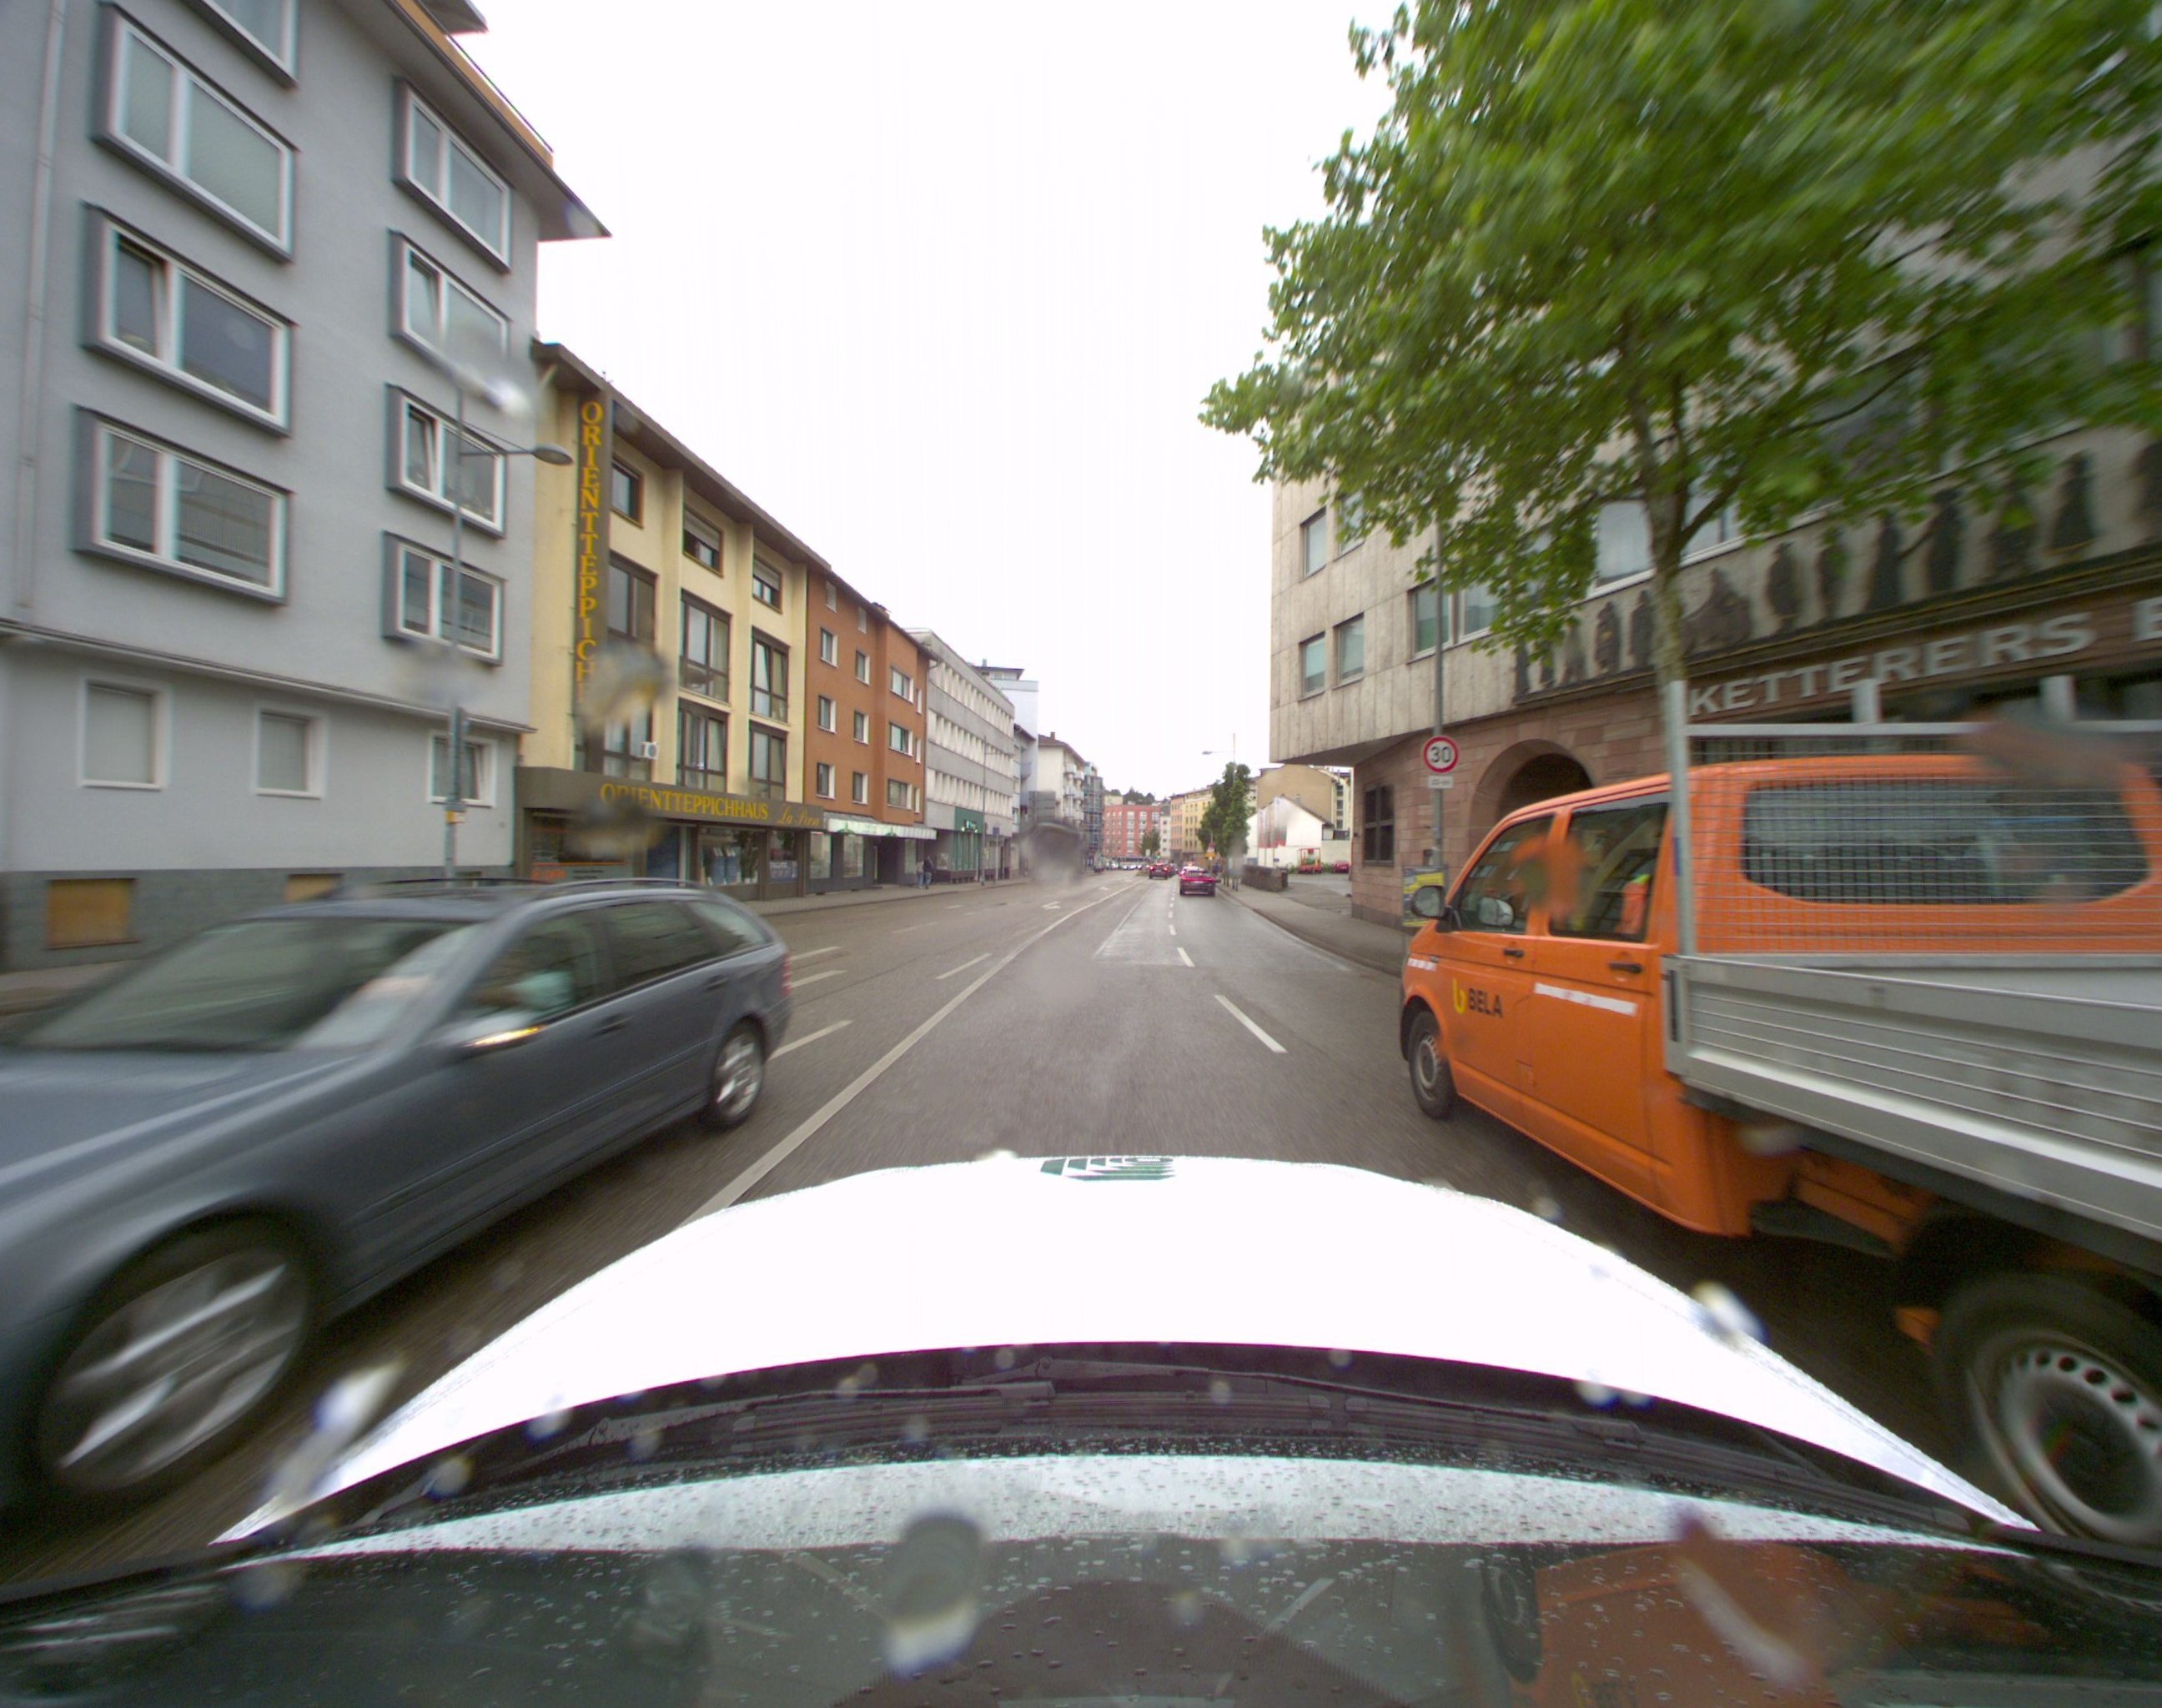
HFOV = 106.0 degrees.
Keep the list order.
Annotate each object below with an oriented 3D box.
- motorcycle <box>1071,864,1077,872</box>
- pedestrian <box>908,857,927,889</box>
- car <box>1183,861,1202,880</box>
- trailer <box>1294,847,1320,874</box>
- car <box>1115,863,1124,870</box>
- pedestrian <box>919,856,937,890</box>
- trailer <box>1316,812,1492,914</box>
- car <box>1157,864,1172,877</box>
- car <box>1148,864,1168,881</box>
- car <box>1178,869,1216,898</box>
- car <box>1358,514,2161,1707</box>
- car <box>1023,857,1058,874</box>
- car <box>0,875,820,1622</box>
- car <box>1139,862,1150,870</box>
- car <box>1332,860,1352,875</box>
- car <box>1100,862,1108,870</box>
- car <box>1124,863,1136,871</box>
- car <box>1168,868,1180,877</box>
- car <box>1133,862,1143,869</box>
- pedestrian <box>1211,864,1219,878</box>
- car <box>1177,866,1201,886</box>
[{"bbox_3d":[-0.918,1.905,108.889,0.522,0.995,2.141,3,0,9],"label":"motorcycle"},{"bbox_3d":[-8.854,1.039,44.124,0.627,1.675,0.910,5,0,6],"label":"pedestrian"},{"bbox_3d":[11.949,1.772,87.139,1.820,1.805,3.728,3,1,9],"label":"car"},{"bbox_3d":[24.156,0.681,87.160,2.114,2.716,5.405,-2,0,9],"label":"trailer"},{"bbox_3d":[8.280,2.688,176.949,1.715,1.423,4.163,-1,-1,-1],"label":"car"},{"bbox_3d":[-8.263,1.028,43.981,0.572,1.788,0.828,5,-1,7],"label":"pedestrian"},{"bbox_3d":[11.024,0.325,28.413,2.636,3.176,5.679,0,-1,-19],"label":"trailer"},{"bbox_3d":[9.501,1.860,92.791,1.633,1.381,3.353,-1,-1,6],"label":"car"},{"bbox_3d":[7.884,1.851,82.783,1.813,1.600,3.726,3,0,8],"label":"car"},{"bbox_3d":[6.277,1.556,44.350,1.781,1.403,4.640,2,0,5],"label":"car"},{"bbox_3d":[2.974,0.471,3.251,2.093,2.089,5.546,-1,-1,3],"label":"car"},{"bbox_3d":[-4.957,1.401,99.206,3.941,2.034,1.584,1,-1,7],"label":"car"},{"bbox_3d":[-2.889,0.849,3.620,1.725,1.440,4.418,0,-1,4],"label":"car"},{"bbox_3d":[11.635,2.208,148.710,1.711,1.423,4.173,-2,-1,7],"label":"car"},{"bbox_3d":[27.461,1.418,85.731,1.579,1.456,3.274,0,-1,11],"label":"car"},{"bbox_3d":[4.916,2.593,176.208,1.452,1.430,3.365,3,0,-4],"label":"car"},{"bbox_3d":[9.015,2.372,149.938,1.698,1.468,4.839,-2,-1,8],"label":"car"},{"bbox_3d":[13.388,2.655,117.377,1.633,1.381,3.353,-1,-1,6],"label":"car"},{"bbox_3d":[12.078,2.517,172.365,1.715,1.423,4.163,-1,-1,-1],"label":"car"},{"bbox_3d":[16.593,2.134,100.853,0.784,1.755,0.876,-1,-1,20],"label":"pedestrian"},{"bbox_3d":[8.370,1.691,63.298,1.657,1.396,3.871,-1,0,4],"label":"car"}]
